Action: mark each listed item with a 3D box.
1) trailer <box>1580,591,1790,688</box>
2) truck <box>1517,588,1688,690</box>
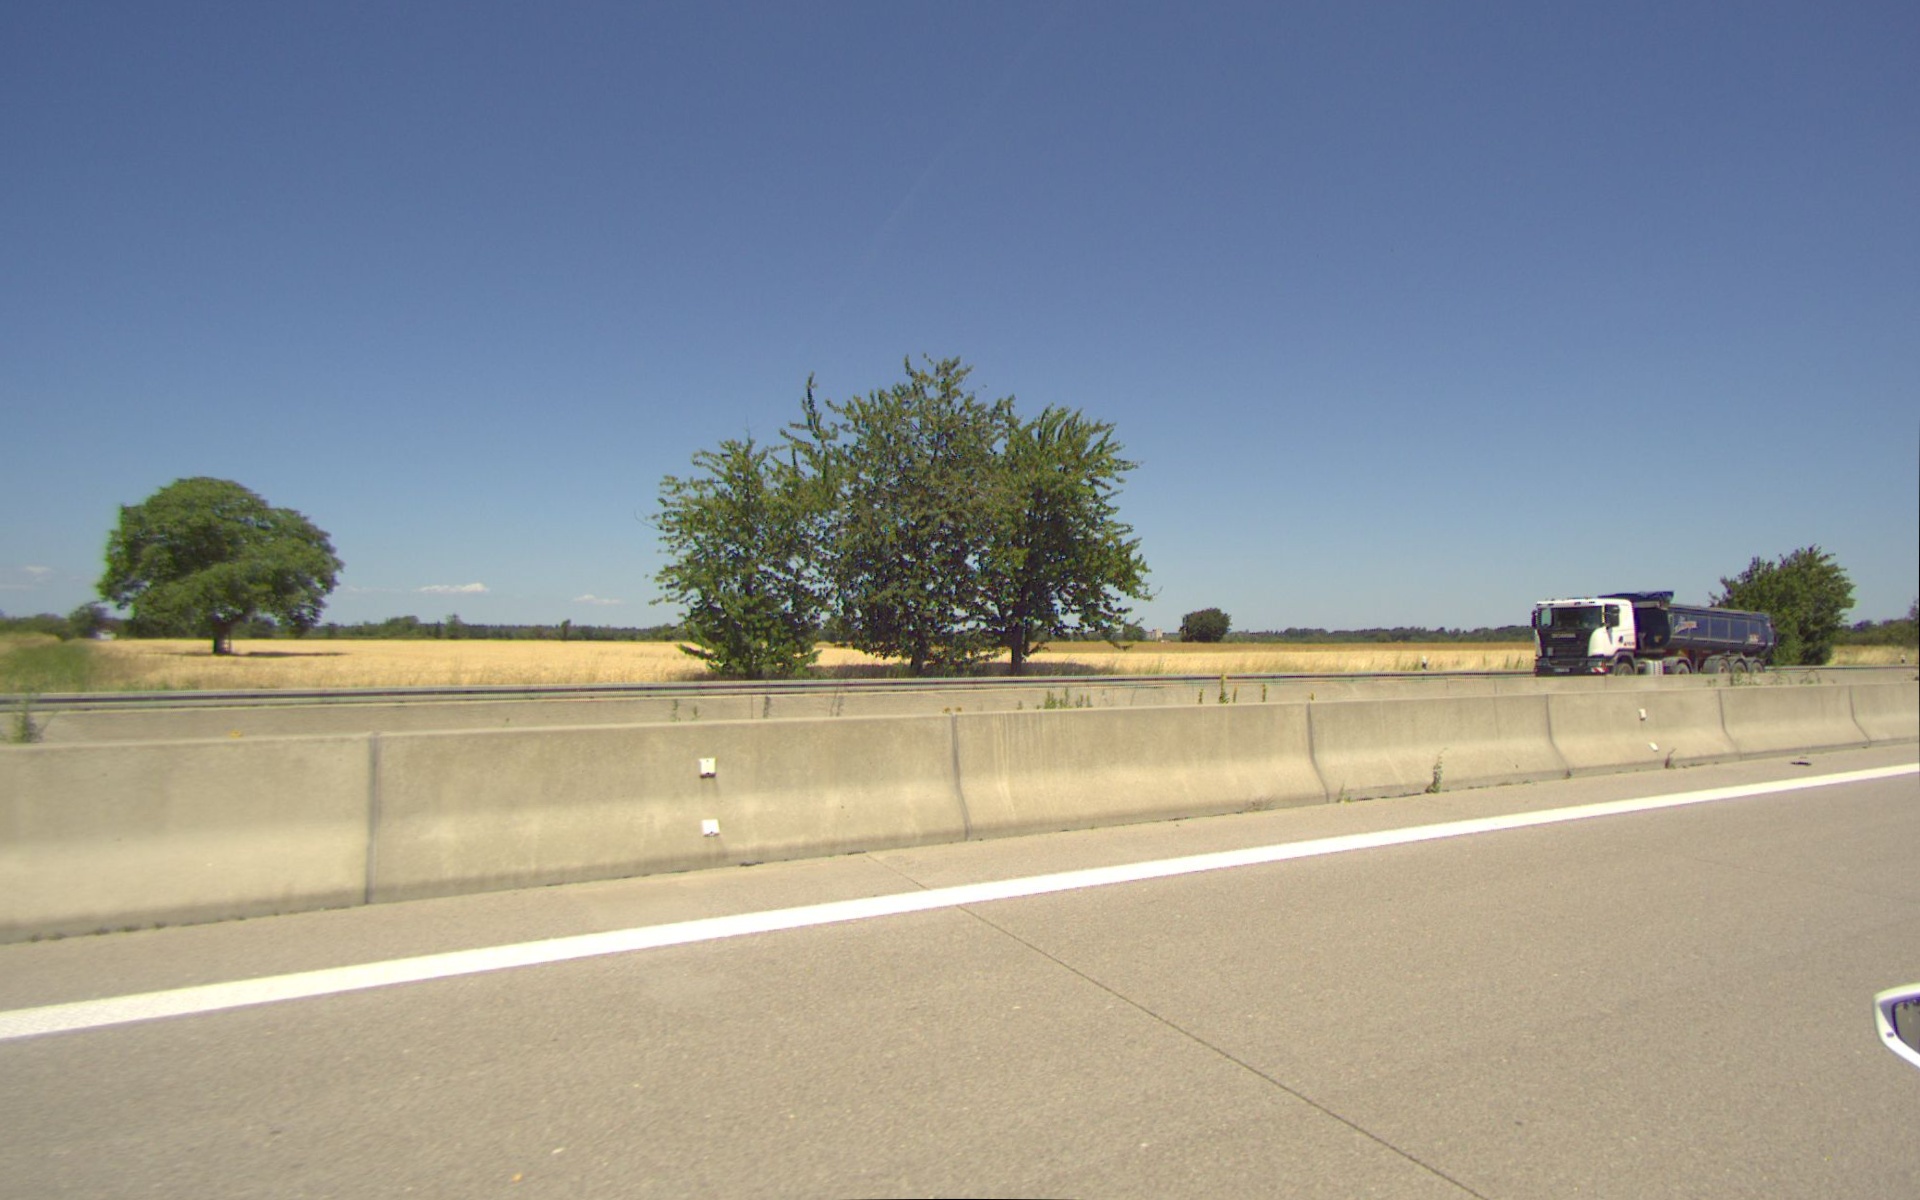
[{"bbox_3d":[27.750,1.470,38.286,9.348,3.348,2.815,1,0,-29],"label":"trailer"},{"bbox_3d":[22.677,1.339,35.425,5.546,3.348,2.794,1,0,-29],"label":"truck"}]
